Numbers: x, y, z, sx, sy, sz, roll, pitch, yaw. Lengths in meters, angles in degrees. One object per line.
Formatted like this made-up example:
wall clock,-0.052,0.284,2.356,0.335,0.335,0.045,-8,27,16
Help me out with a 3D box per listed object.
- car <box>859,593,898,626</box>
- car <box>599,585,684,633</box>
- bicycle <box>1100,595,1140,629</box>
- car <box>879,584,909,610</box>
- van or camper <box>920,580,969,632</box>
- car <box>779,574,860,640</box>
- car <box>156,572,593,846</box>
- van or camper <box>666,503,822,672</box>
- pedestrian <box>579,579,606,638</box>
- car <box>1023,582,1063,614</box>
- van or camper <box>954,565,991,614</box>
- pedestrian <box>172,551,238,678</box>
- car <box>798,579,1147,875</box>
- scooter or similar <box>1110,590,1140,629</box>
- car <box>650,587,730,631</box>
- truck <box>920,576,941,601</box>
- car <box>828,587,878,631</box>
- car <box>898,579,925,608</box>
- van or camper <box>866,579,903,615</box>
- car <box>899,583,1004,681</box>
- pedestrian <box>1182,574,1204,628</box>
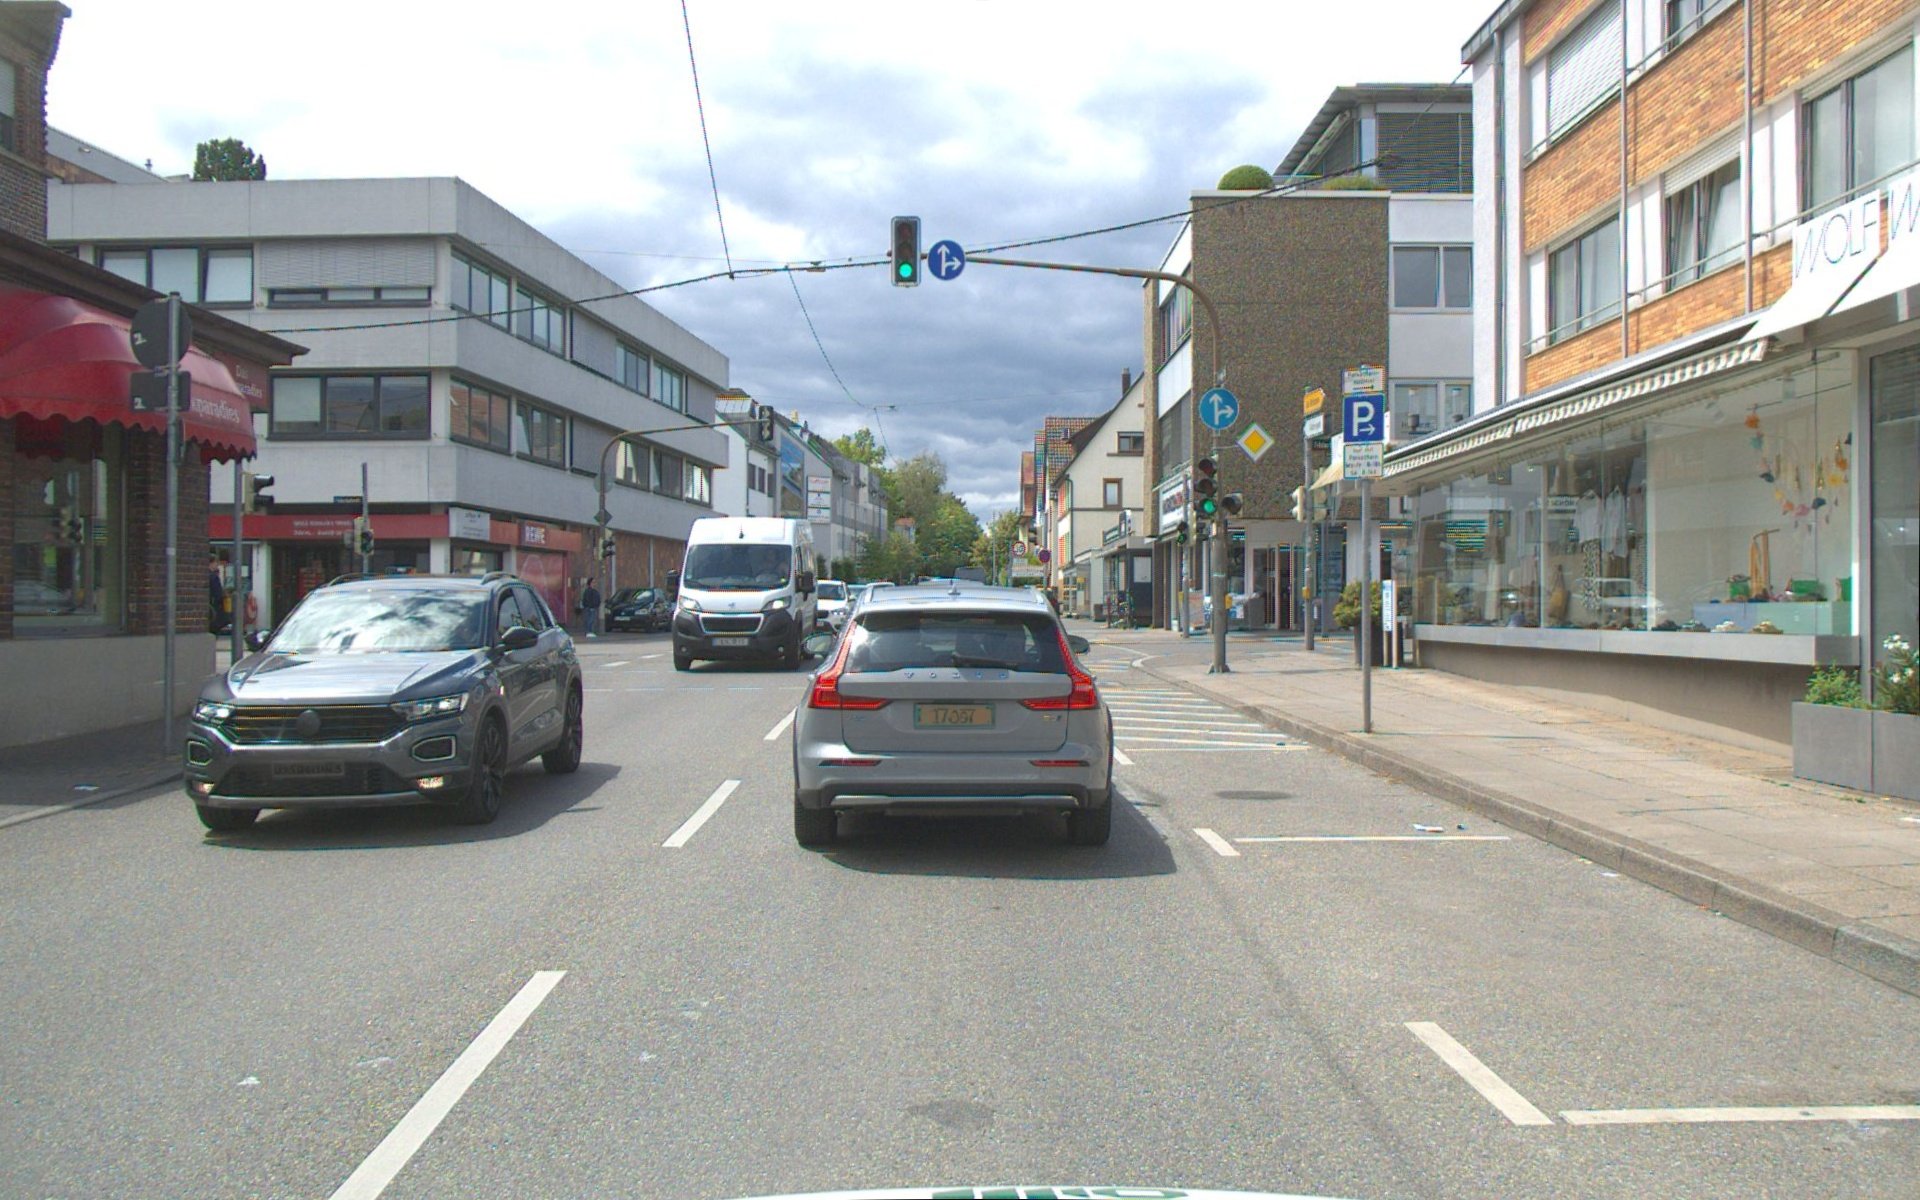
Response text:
car,-3.854,0.447,78.665,1.648,1.523,3.967,-1,0,0
car,-10.465,0.294,54.643,1.747,1.490,4.088,1,0,3
bicycle,5.661,0.410,58.690,0.546,1.164,2.288,-1,0,-18
car,-4.067,-0.203,102.882,1.634,1.581,4.215,0,0,1
van or camper,-0.595,0.254,62.240,1.782,1.867,3.999,0,-2,-1
car,-3.771,0.163,44.987,1.744,1.668,4.221,-2,0,1
car,-3.760,0.589,11.362,1.755,1.537,3.843,-1,1,-3
van or camper,-3.589,-0.245,28.444,2.105,2.601,5.436,-1,1,-2
pedestrian,-10.514,0.249,47.292,0.606,1.670,0.660,-1,0,1
car,4.158,-0.080,83.516,1.676,1.490,3.998,1,-1,-2
van or camper,0.727,-0.628,95.534,2.079,2.733,4.781,-1,0,1
pedestrian,-11.085,0.214,24.303,0.613,1.828,0.720,1,-2,-3
car,0.041,0.630,10.542,1.798,1.512,4.000,0,1,-1
scooter or similar,5.550,0.312,55.652,0.336,1.275,1.235,-2,-1,-26
car,-9.741,0.296,60.055,1.864,1.468,4.445,1,0,4
truck,-3.412,-1.363,195.361,2.229,2.937,7.079,-1,0,1
car,-4.011,0.334,62.758,1.753,1.617,4.099,-1,0,-2
car,-3.332,-0.431,114.131,1.800,1.951,4.155,1,0,-1
van or camper,-4.153,-0.200,91.529,1.826,1.931,4.692,0,1,0
car,-0.145,0.504,27.423,1.617,1.508,3.606,1,0,-1
pedestrian,6.540,0.038,46.465,0.493,1.484,0.500,-3,-1,13
